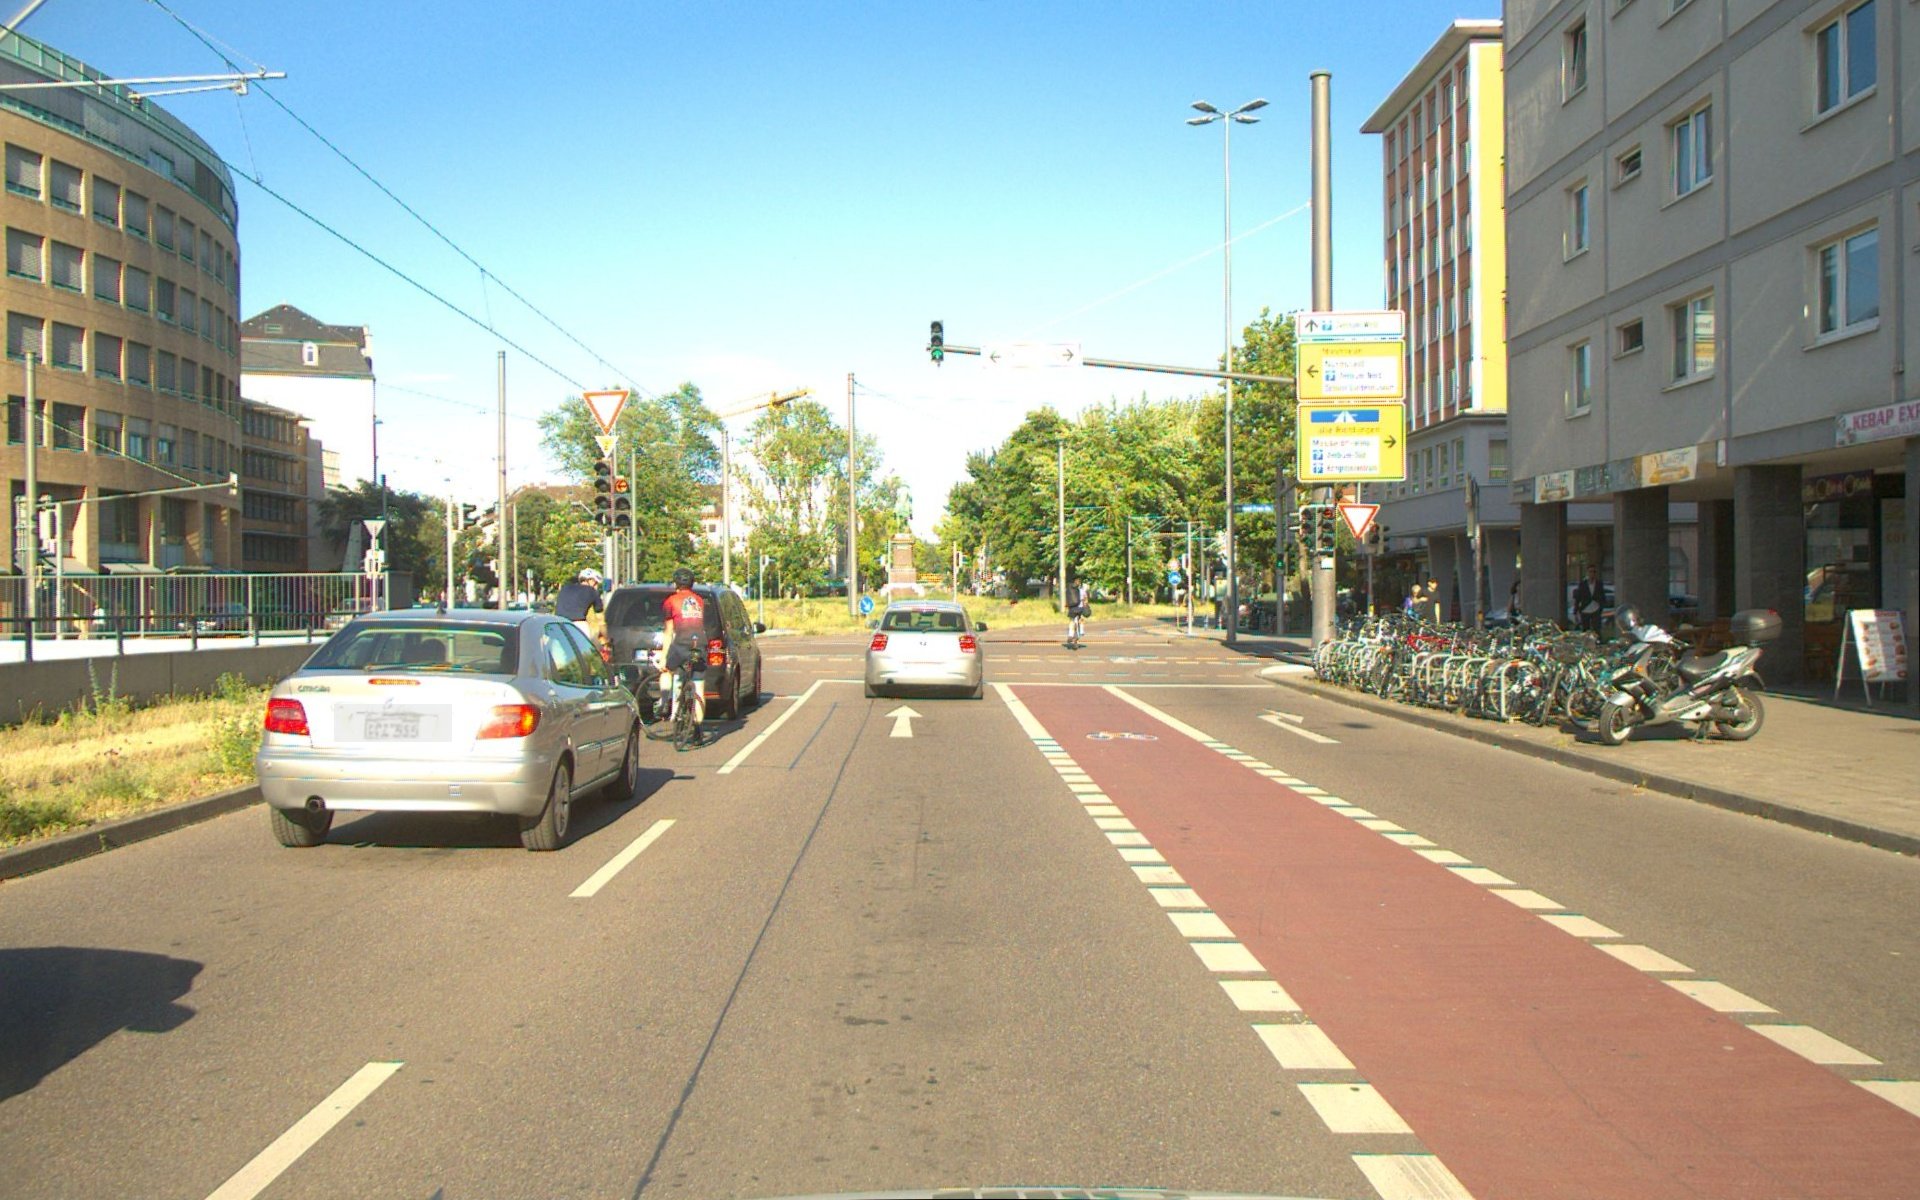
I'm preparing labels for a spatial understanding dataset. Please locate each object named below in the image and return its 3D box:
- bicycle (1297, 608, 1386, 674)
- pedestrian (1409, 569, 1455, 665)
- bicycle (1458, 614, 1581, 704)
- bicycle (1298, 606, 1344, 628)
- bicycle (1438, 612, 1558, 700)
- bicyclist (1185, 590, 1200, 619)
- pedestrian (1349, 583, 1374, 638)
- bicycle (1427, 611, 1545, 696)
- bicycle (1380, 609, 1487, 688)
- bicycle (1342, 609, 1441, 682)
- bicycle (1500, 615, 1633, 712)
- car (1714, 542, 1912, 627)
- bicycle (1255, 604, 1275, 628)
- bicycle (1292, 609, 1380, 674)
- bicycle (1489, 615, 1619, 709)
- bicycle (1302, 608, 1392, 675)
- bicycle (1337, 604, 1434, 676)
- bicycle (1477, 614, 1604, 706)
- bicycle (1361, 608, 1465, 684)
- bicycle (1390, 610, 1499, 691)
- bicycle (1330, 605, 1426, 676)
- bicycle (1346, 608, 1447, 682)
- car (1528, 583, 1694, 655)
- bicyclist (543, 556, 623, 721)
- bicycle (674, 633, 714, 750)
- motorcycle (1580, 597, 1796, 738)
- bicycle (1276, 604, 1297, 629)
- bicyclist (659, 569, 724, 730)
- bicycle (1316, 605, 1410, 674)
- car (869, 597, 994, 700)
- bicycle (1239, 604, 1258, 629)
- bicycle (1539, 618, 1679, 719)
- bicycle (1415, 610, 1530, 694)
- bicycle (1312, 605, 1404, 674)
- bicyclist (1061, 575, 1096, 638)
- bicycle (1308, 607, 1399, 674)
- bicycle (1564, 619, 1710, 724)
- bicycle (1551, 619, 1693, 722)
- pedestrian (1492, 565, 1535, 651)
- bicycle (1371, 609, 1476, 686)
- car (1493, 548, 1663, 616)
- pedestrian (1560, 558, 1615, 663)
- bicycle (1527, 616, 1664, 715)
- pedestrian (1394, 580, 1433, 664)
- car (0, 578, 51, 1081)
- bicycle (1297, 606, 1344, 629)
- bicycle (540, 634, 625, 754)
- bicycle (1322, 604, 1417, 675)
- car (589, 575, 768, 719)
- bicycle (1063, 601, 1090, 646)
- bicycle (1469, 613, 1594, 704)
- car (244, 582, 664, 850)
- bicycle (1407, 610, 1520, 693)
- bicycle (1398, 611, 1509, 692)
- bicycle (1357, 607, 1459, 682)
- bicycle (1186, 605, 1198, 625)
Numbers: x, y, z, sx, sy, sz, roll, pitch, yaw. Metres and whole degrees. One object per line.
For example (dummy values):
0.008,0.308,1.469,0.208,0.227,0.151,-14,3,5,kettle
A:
6.541,0.699,28.354,1.435,1.086,0.257,-1,-1,1,bicycle
10.277,0.376,36.027,0.774,2.049,0.870,1,0,6,pedestrian
7.062,0.742,20.900,1.435,1.086,0.257,-1,-1,1,bicycle
18.737,0.890,85.775,2.270,1.087,0.556,1,0,22,bicycle
6.935,0.720,21.338,1.435,1.086,0.257,-1,-1,1,bicycle
11.622,0.224,82.654,0.604,1.404,0.686,1,0,0,bicyclist
14.379,0.369,59.264,0.693,1.953,0.704,1,0,2,pedestrian
6.910,0.700,21.738,1.435,1.086,0.257,-1,-1,1,bicycle
6.763,0.685,23.638,1.435,1.086,0.257,-1,-1,1,bicycle
6.640,0.694,25.482,1.435,1.086,0.257,-1,-1,1,bicycle
7.115,0.742,19.410,1.435,1.086,0.257,-1,-1,1,bicycle
24.143,-0.418,46.938,4.498,2.251,2.188,1,0,0,car
12.988,0.673,70.374,0.408,1.026,1.944,1,0,-2,bicycle
6.530,0.718,28.744,1.435,1.086,0.257,-1,-1,1,bicycle
7.119,0.741,19.830,1.435,1.086,0.257,-1,-1,1,bicycle
6.554,0.703,28.037,1.435,1.086,0.257,-1,-1,1,bicycle
6.644,0.625,25.849,1.435,1.086,0.257,-1,-1,1,bicycle
7.087,0.731,20.199,1.435,1.086,0.257,-1,-1,1,bicycle
6.684,0.673,24.407,1.435,1.086,0.257,-1,-1,1,bicycle
6.821,0.708,23.282,1.435,1.086,0.257,-1,-1,1,bicycle
6.609,0.636,26.186,1.435,1.086,0.257,-1,-1,1,bicycle
6.636,0.688,25.158,1.435,1.086,0.257,-1,-1,1,bicycle
19.827,0.572,50.465,4.272,2.049,1.972,1,0,0,car
-3.767,0.379,16.575,0.604,1.599,0.686,1,0,0,bicyclist
-2.699,0.896,16.729,0.332,1.075,1.774,1,0,-11,bicycle
7.187,0.657,16.388,1.816,1.323,0.652,-2,0,2,motorcycle
13.810,0.683,69.937,0.408,1.026,1.944,1,0,-2,bicycle
-2.728,0.487,16.775,0.606,1.599,0.684,0,0,-13,bicyclist
6.554,0.642,26.905,1.435,1.086,0.257,-1,-1,1,bicycle
-0.422,0.689,25.489,1.761,1.439,4.000,0,0,-1,car
12.273,0.682,70.463,0.408,1.026,1.944,1,0,-2,bicycle
7.266,0.761,18.537,1.435,1.086,0.257,-1,-1,1,bicycle
6.865,0.696,22.153,1.435,1.086,0.257,-1,-1,1,bicycle
6.554,0.649,27.260,1.435,1.086,0.257,-1,-1,1,bicycle
2.971,0.158,41.603,0.769,1.558,0.895,1,0,-1,bicyclist
6.570,0.675,27.627,1.435,1.086,0.257,-1,-1,1,bicycle
7.274,0.762,17.776,1.435,1.086,0.257,-1,-1,1,bicycle
7.258,0.768,18.147,1.435,1.086,0.257,-1,-1,1,bicycle
13.362,0.196,39.958,0.858,2.049,0.913,1,0,13,pedestrian
6.717,0.687,23.992,1.435,1.086,0.257,-1,-1,1,bicycle
19.915,-0.582,53.443,4.632,2.049,2.259,1,0,0,car
12.572,0.209,33.172,0.825,2.049,0.890,1,0,8,pedestrian
7.272,0.743,18.946,1.435,1.086,0.257,-1,-1,1,bicycle
10.404,0.505,37.967,0.808,1.888,0.917,1,0,13,pedestrian
-3.581,0.683,2.958,1.692,1.496,4.407,0,0,-4,car
18.537,0.902,85.107,2.270,1.087,0.556,1,0,22,bicycle
-3.744,0.901,16.509,0.366,1.075,1.955,1,0,0,bicycle
6.570,0.632,26.574,1.435,1.086,0.257,-1,-1,1,bicycle
-3.486,0.533,21.128,1.669,1.650,3.999,0,0,-1,car
2.929,0.575,41.639,0.489,1.107,1.996,1,0,-1,bicycle
7.095,0.724,20.560,1.435,1.086,0.257,-1,-1,1,bicycle
-3.114,0.633,11.015,1.611,1.446,3.999,1,0,-1,car
6.851,0.697,22.506,1.435,1.086,0.257,-1,-1,1,bicycle
6.823,0.707,22.895,1.435,1.086,0.257,-1,-1,1,bicycle
6.695,0.662,24.723,1.435,1.086,0.257,-1,-1,1,bicycle
11.567,0.766,82.540,0.344,0.975,1.573,1,0,0,bicycle
